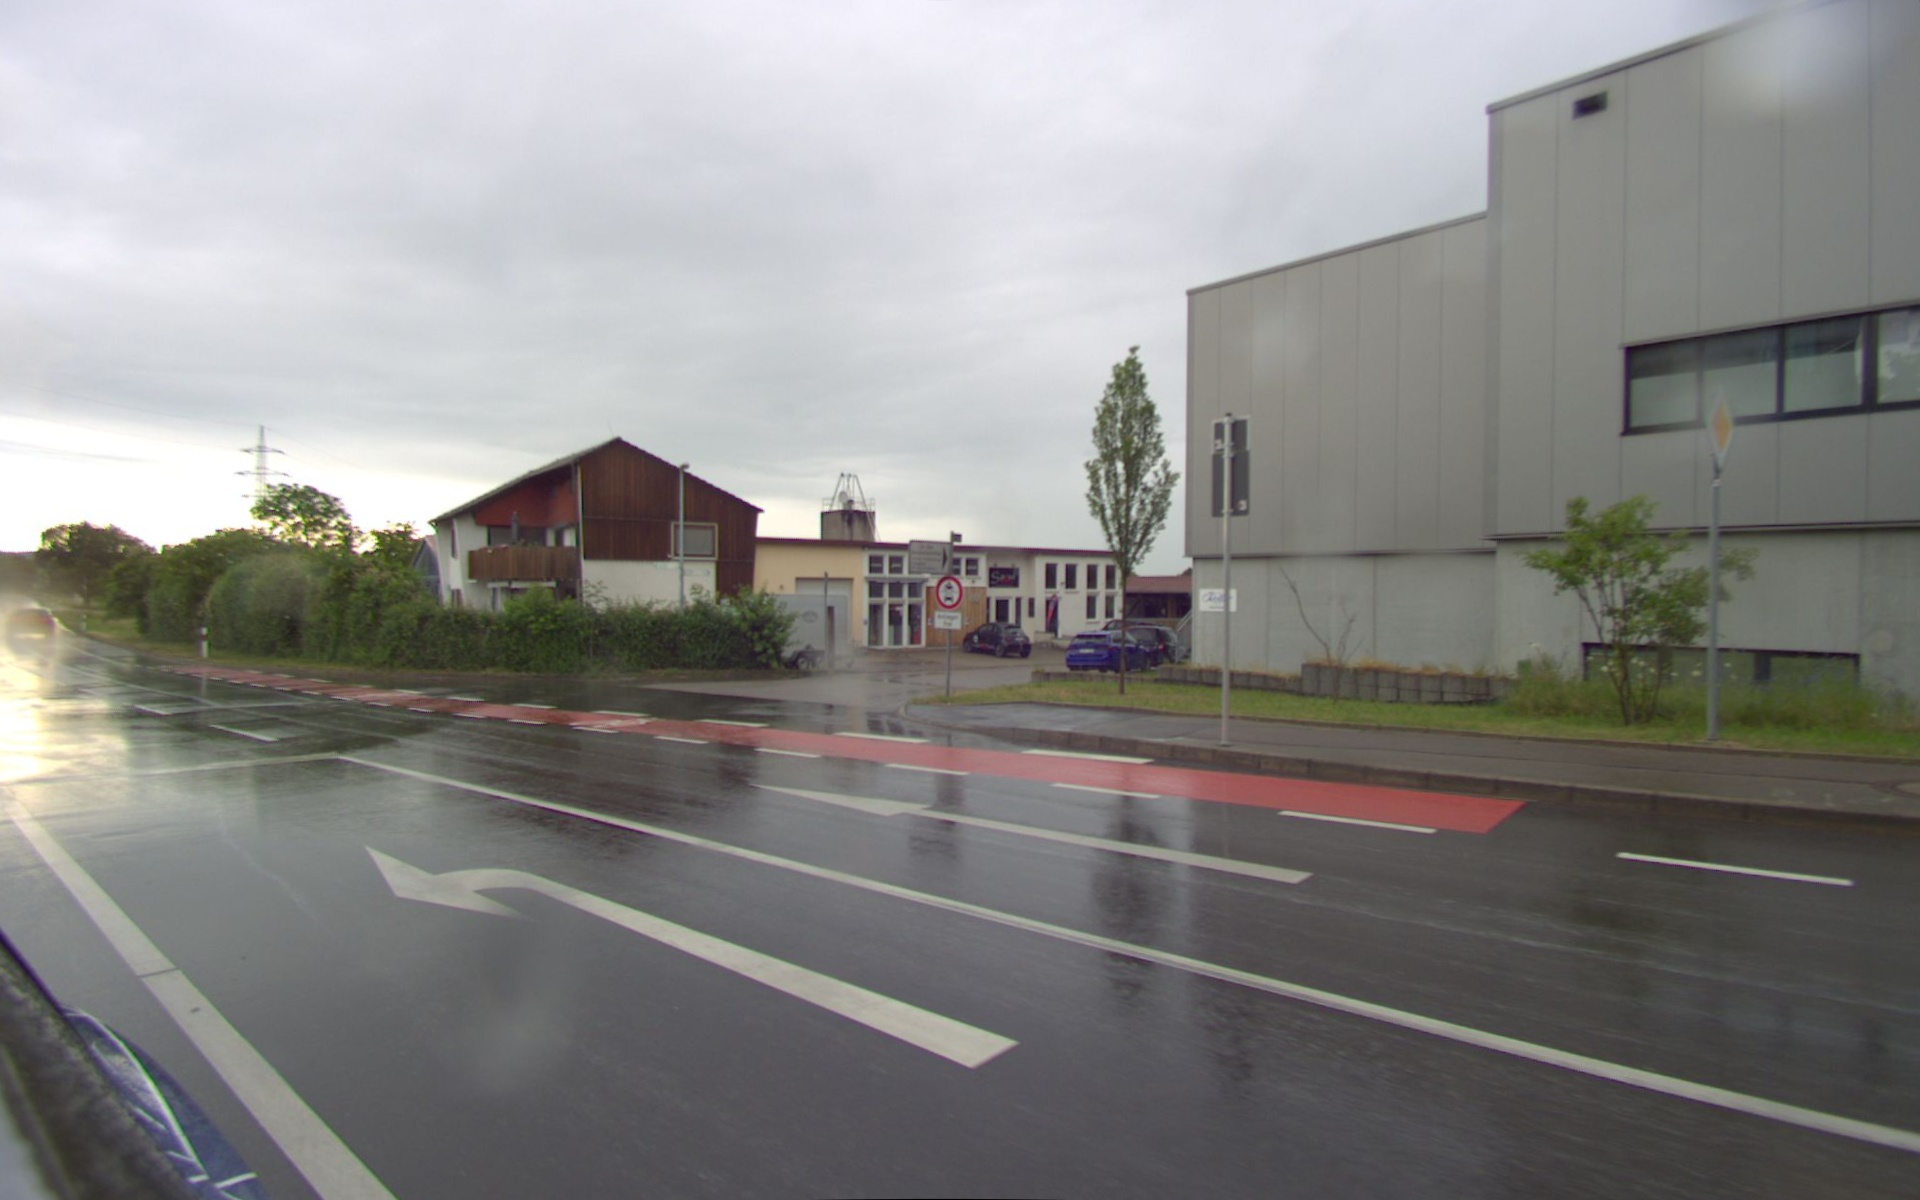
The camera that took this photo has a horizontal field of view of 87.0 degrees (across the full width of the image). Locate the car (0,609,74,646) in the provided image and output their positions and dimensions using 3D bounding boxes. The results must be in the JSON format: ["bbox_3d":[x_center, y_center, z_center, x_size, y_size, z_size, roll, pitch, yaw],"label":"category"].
[{"bbox_3d":[-51.300,1.582,56.125,6.874,1.830,2.329,-3,-5,42],"label":"car"}]

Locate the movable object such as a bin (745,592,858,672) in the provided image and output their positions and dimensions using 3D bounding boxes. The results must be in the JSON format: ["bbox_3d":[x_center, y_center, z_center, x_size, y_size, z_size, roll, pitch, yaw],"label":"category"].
[{"bbox_3d":[-5.332,1.125,34.221,3.288,2.576,1.741,3,-4,-42],"label":"movable object such as a bin"}]

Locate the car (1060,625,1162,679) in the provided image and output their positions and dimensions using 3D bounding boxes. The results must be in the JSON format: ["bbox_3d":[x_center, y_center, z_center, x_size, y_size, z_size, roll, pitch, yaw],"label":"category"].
[{"bbox_3d":[5.033,1.710,33.194,1.949,1.622,4.404,0,-3,28],"label":"car"}]

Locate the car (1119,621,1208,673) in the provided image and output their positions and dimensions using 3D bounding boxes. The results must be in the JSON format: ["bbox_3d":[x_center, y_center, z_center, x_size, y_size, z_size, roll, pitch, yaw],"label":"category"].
[{"bbox_3d":[7.840,1.803,38.703,2.072,1.849,4.425,0,-3,29],"label":"car"}]

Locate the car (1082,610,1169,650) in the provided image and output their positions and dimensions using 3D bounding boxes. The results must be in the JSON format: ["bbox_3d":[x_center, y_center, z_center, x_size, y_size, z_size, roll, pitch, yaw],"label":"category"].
[{"bbox_3d":[8.366,1.540,51.647,1.966,1.919,4.423,3,-3,-31],"label":"car"}]

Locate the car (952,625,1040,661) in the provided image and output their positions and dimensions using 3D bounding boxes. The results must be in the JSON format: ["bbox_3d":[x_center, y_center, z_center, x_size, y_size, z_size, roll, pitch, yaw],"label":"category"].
[{"bbox_3d":[1.616,1.965,46.794,1.967,1.567,4.009,3,-3,-37],"label":"car"}]
